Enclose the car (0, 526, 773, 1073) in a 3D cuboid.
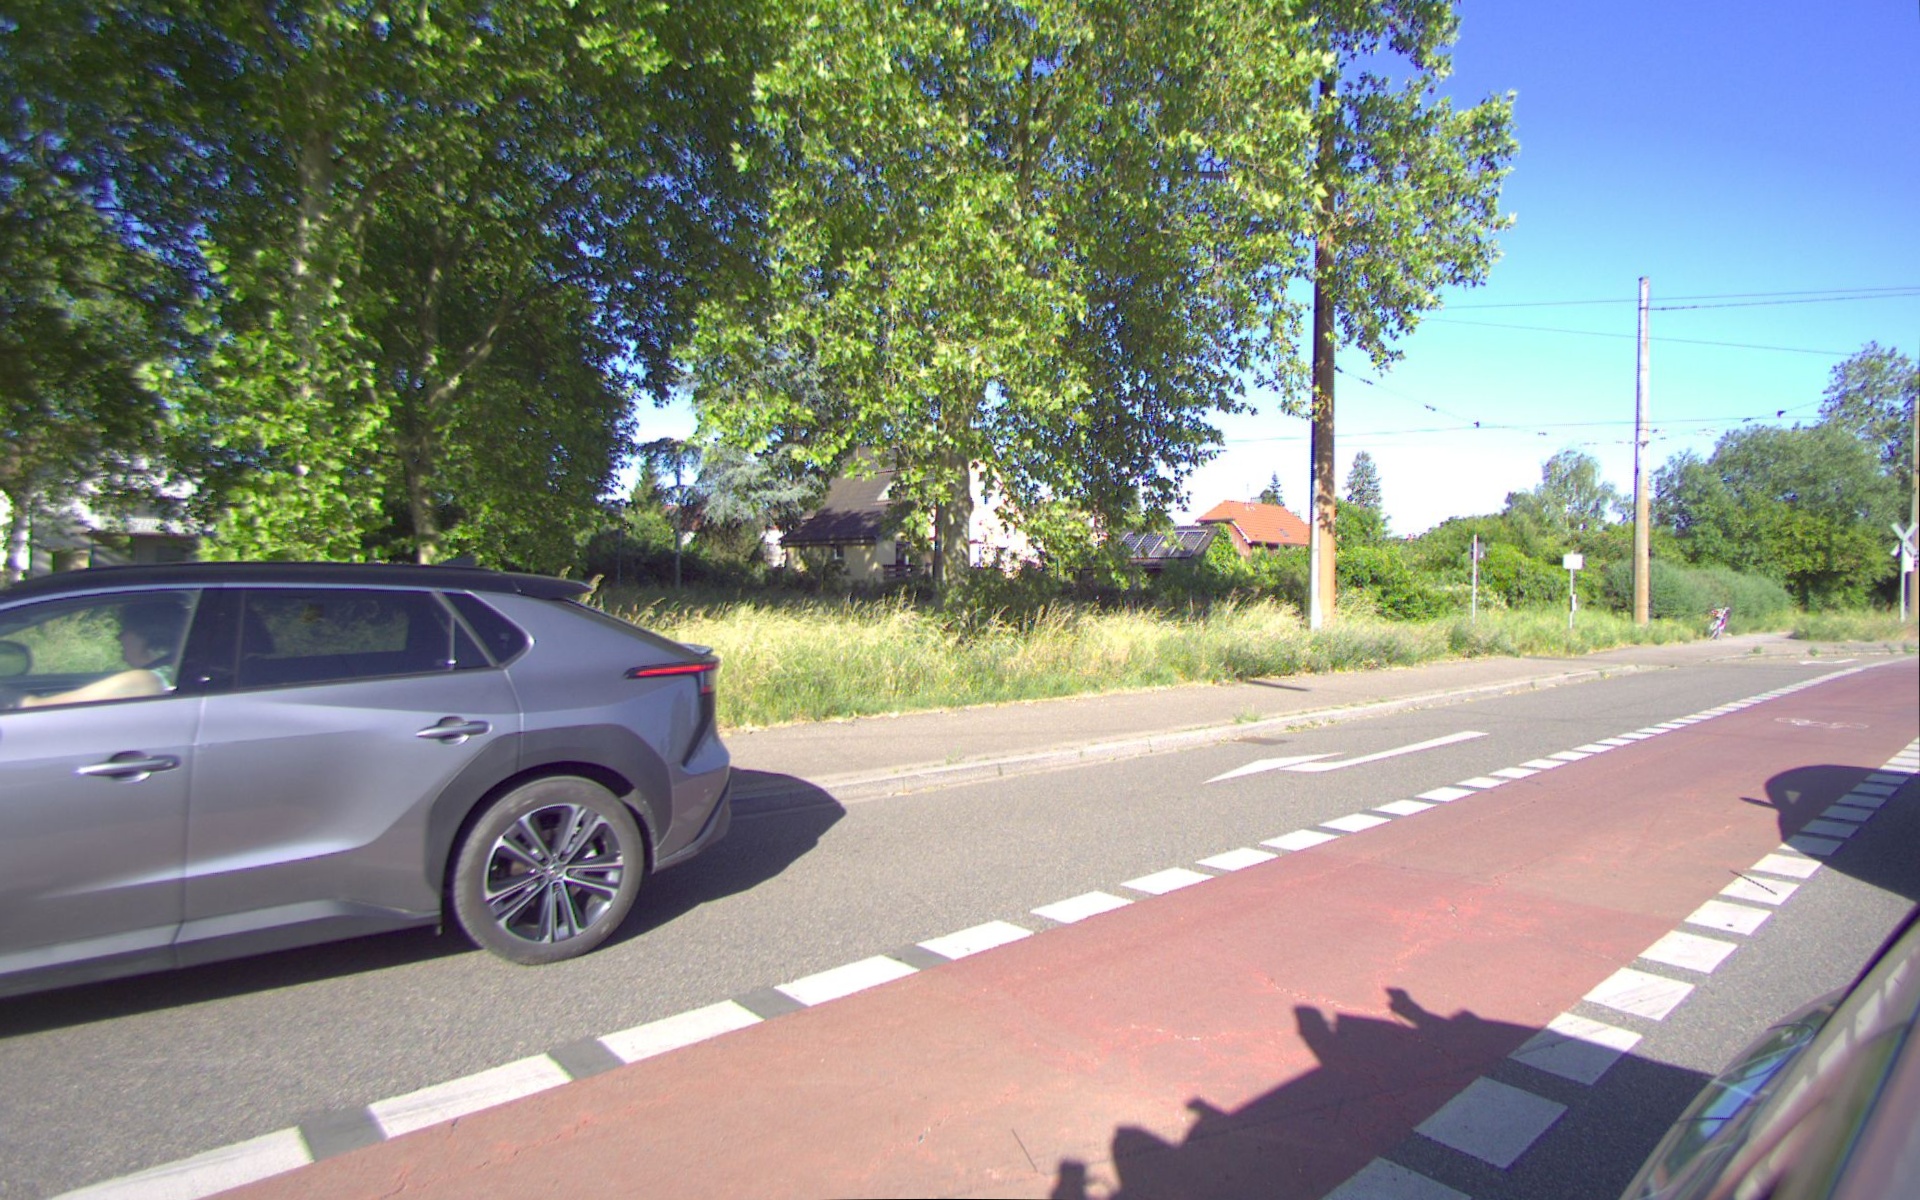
[{"bbox_3d":[-3.145,0.581,3.958,4.413,1.651,1.771,0,1,-36],"label":"car"}]
